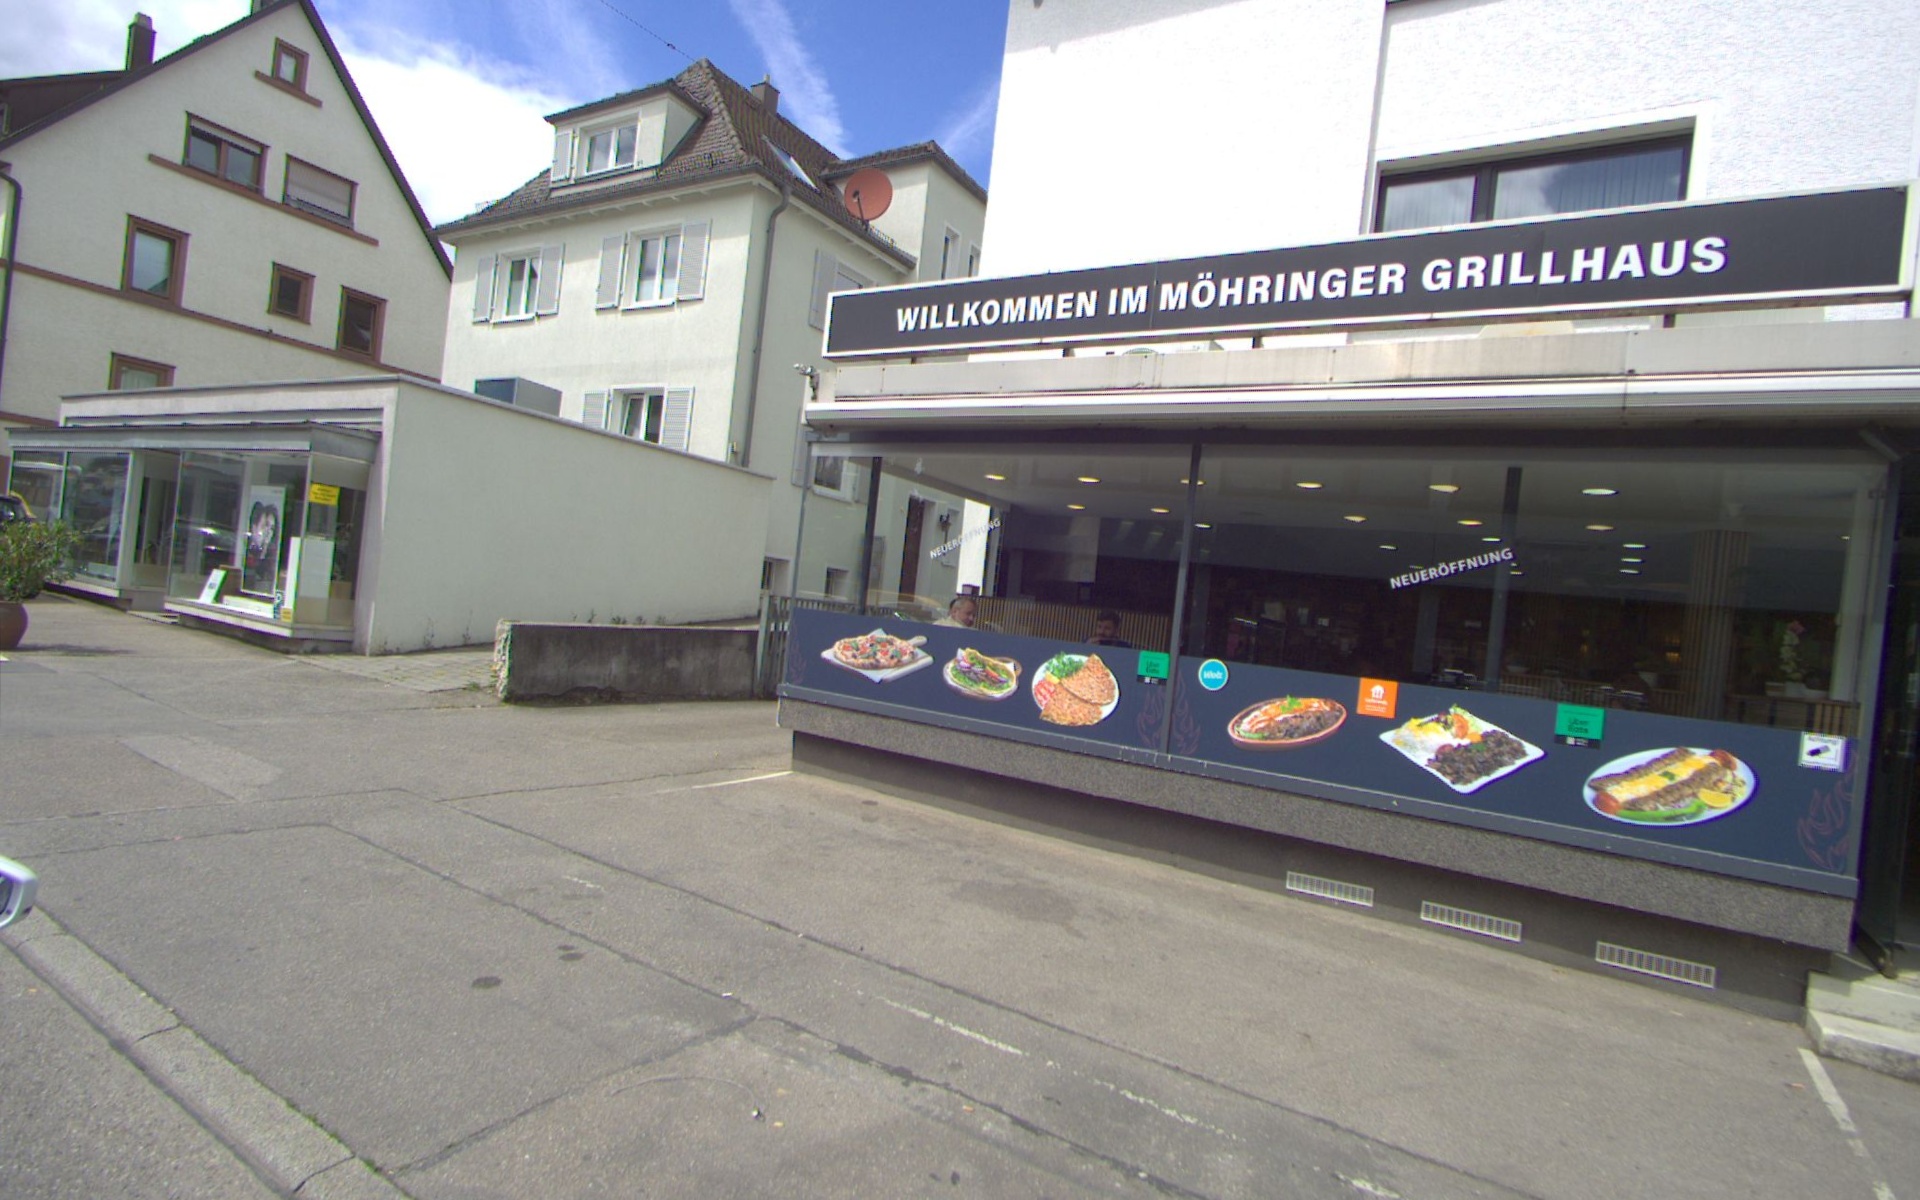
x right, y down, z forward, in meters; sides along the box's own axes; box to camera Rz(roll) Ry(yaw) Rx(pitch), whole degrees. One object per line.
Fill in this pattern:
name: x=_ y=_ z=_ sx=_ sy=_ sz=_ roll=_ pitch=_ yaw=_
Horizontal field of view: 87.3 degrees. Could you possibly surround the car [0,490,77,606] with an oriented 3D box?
car: x=-14.524 y=-0.933 z=14.041 sx=4.459 sy=1.465 sz=1.971 roll=7 pitch=0 yaw=31
